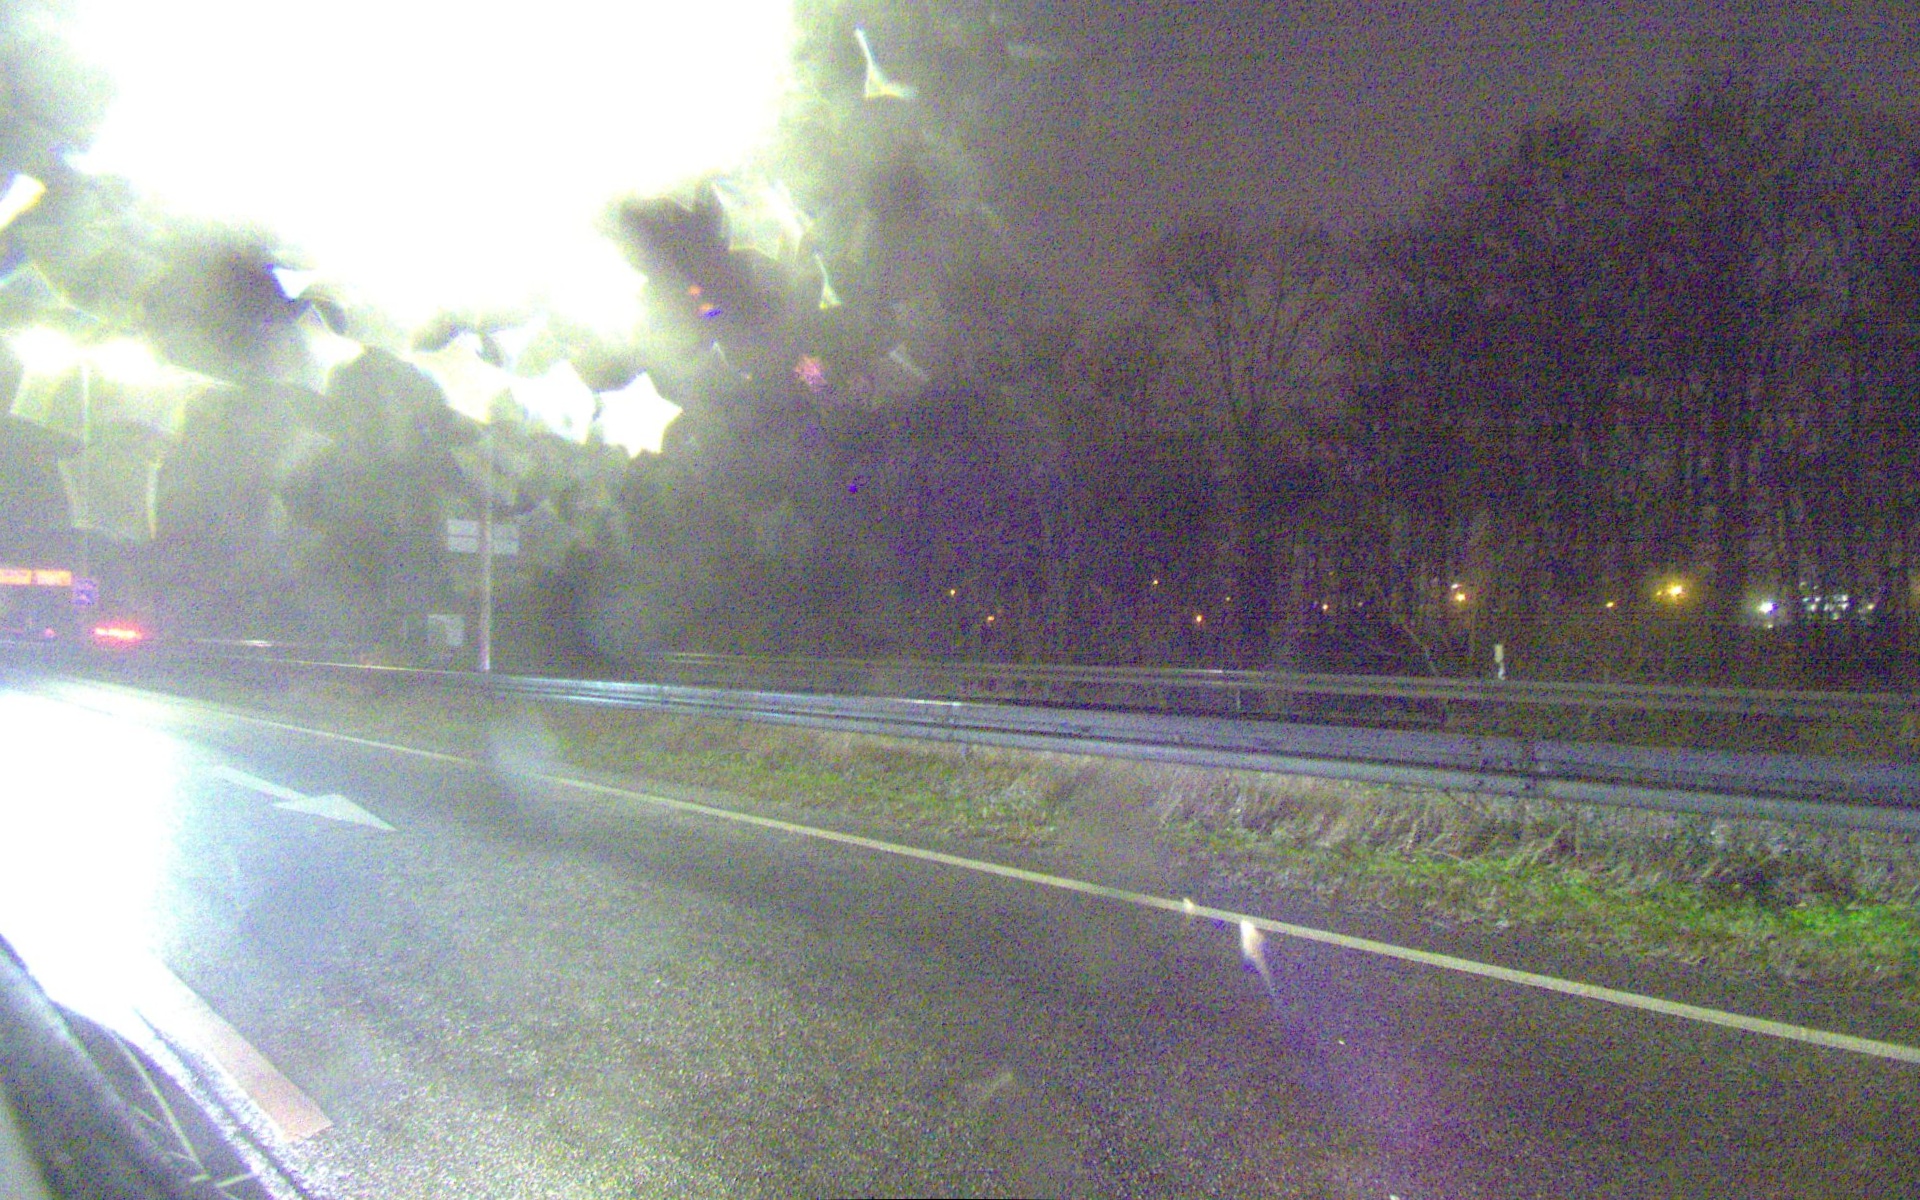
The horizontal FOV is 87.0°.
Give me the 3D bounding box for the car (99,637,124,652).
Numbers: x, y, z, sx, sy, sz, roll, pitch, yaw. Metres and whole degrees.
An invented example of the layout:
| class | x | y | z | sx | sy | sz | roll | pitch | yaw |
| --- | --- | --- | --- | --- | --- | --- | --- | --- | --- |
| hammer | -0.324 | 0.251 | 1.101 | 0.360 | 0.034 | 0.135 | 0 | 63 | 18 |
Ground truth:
| class | x | y | z | sx | sy | sz | roll | pitch | yaw |
| --- | --- | --- | --- | --- | --- | --- | --- | --- | --- |
| car | -98.520 | 5.133 | 117.483 | 4.000 | 1.660 | 1.841 | -2 | -1 | 43 |
